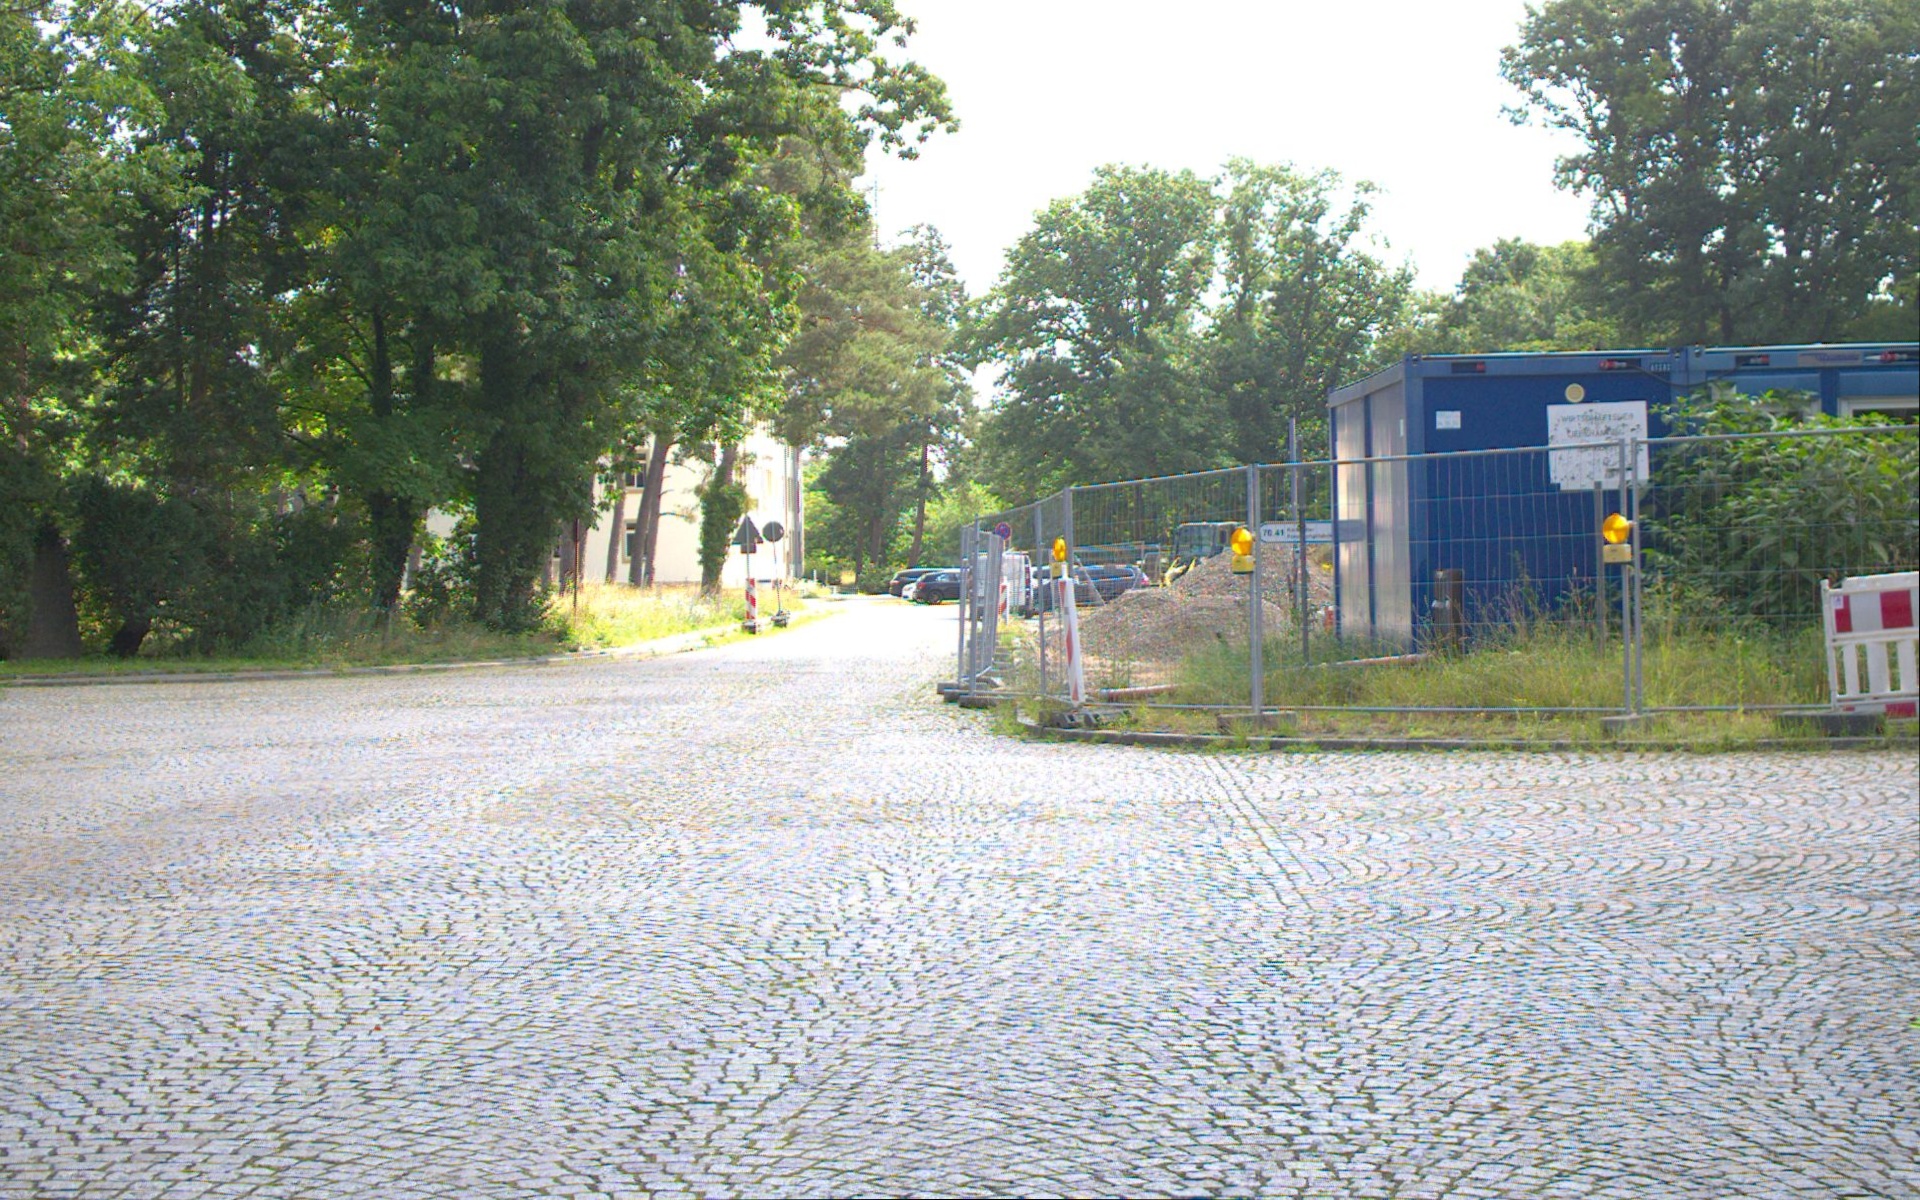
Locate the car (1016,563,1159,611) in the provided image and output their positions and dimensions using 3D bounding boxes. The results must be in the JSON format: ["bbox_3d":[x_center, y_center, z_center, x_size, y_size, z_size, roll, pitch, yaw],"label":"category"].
[{"bbox_3d":[4.121,-0.419,110.596,4.404,1.505,1.999,0,0,9],"label":"car"}]

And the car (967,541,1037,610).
[{"bbox_3d":[1.237,-0.740,103.131,1.993,2.007,4.091,0,0,-1],"label":"car"}]

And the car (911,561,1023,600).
[{"bbox_3d":[0.282,-0.856,151.616,4.779,1.635,2.000,-1,0,-5],"label":"car"}]

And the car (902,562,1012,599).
[{"bbox_3d":[-0.145,-0.885,154.725,4.779,1.635,2.000,-1,0,-5],"label":"car"}]

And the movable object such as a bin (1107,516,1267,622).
[{"bbox_3d":[5.738,-0.784,86.329,2.132,2.584,4.783,0,1,30],"label":"movable object such as a bin"}]
